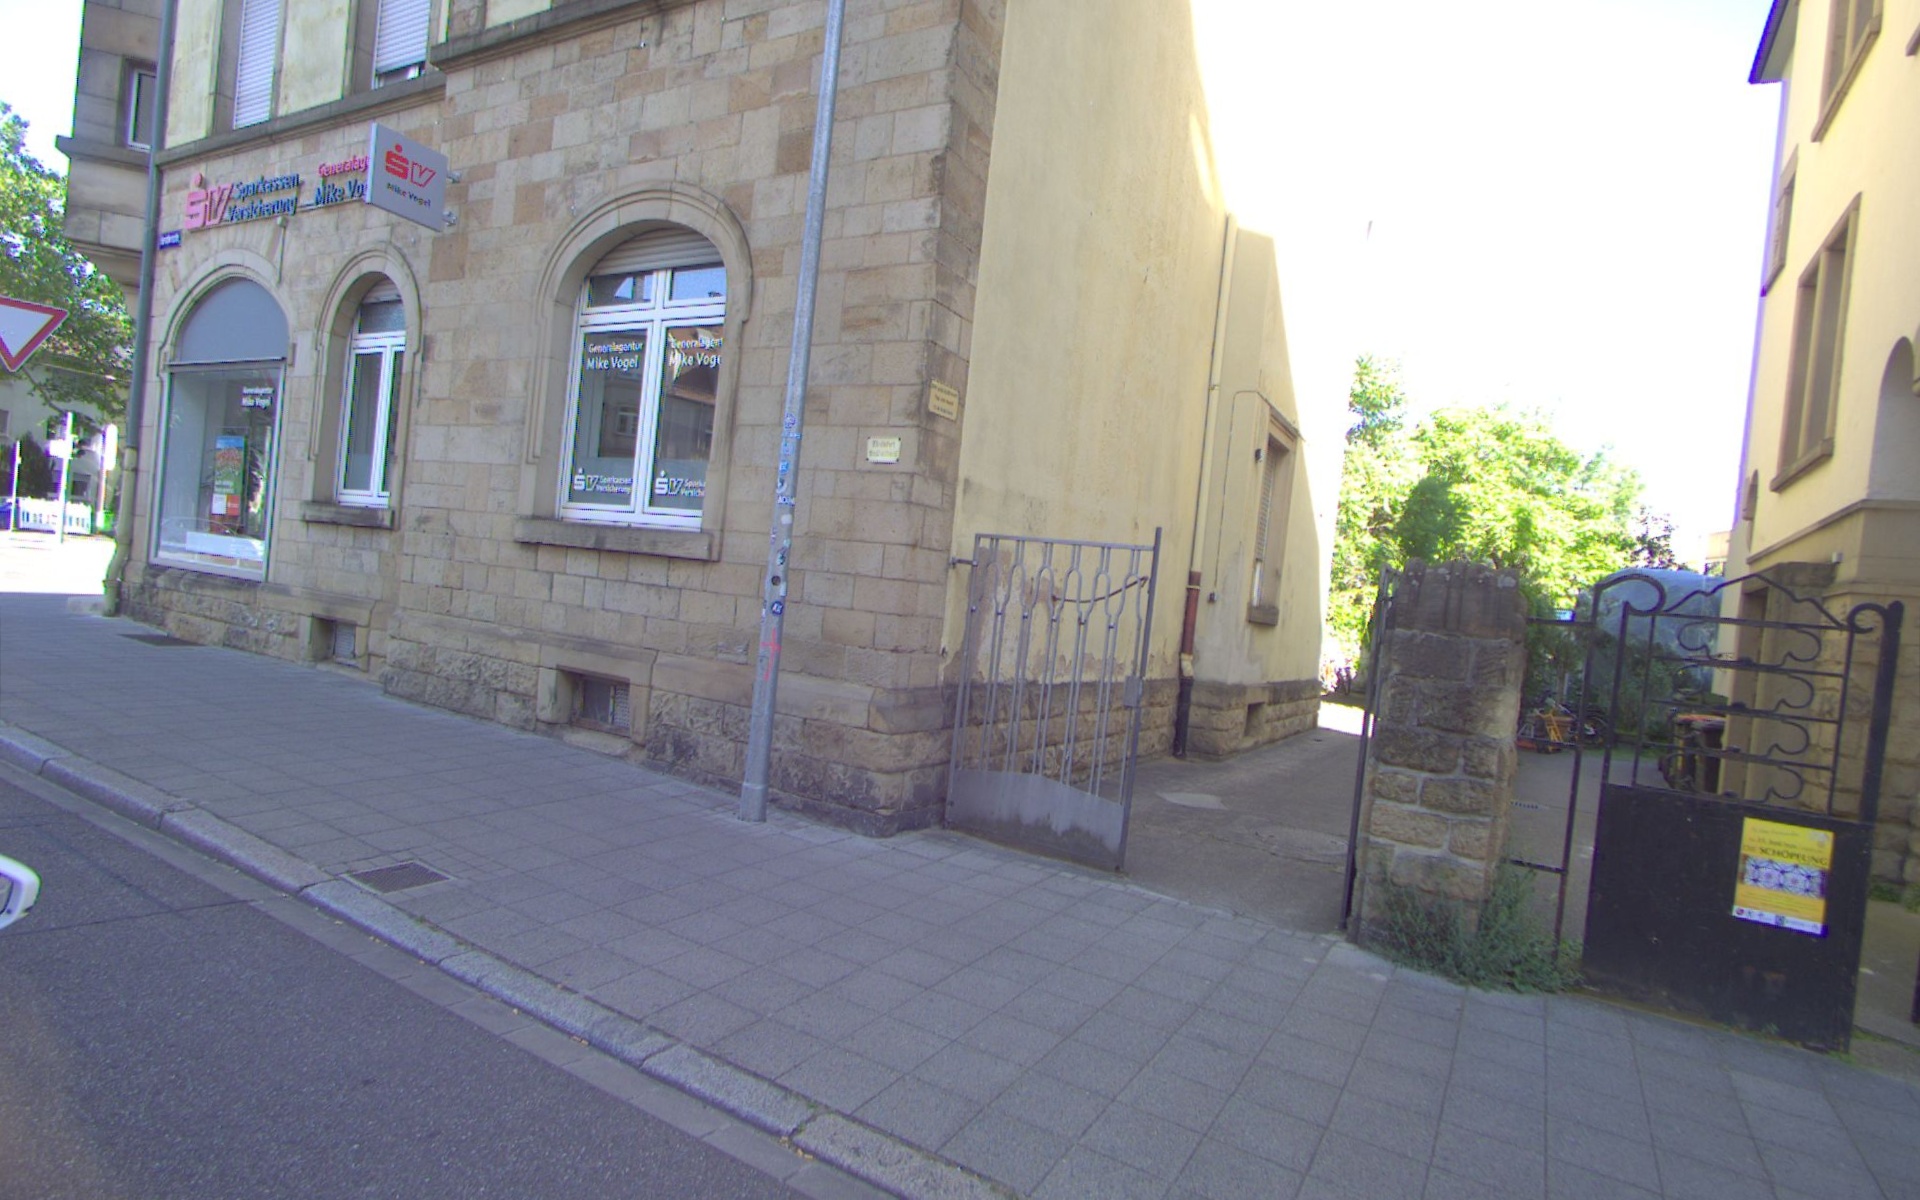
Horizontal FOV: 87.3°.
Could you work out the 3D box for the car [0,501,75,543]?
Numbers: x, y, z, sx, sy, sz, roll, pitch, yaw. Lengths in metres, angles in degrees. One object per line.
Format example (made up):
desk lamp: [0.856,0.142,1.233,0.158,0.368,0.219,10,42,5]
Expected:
car: [-38.223,-3.239,40.288,1.615,1.417,3.794,7,0,17]

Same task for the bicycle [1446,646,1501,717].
bicycle: [12.596,1.940,24.638,0.904,1.532,2.667,6,2,31]

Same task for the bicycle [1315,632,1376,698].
bicycle: [9.978,1.645,25.969,0.904,1.532,2.667,6,2,31]

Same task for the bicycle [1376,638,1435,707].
bicycle: [11.211,1.780,25.252,0.904,1.532,2.667,6,2,31]
